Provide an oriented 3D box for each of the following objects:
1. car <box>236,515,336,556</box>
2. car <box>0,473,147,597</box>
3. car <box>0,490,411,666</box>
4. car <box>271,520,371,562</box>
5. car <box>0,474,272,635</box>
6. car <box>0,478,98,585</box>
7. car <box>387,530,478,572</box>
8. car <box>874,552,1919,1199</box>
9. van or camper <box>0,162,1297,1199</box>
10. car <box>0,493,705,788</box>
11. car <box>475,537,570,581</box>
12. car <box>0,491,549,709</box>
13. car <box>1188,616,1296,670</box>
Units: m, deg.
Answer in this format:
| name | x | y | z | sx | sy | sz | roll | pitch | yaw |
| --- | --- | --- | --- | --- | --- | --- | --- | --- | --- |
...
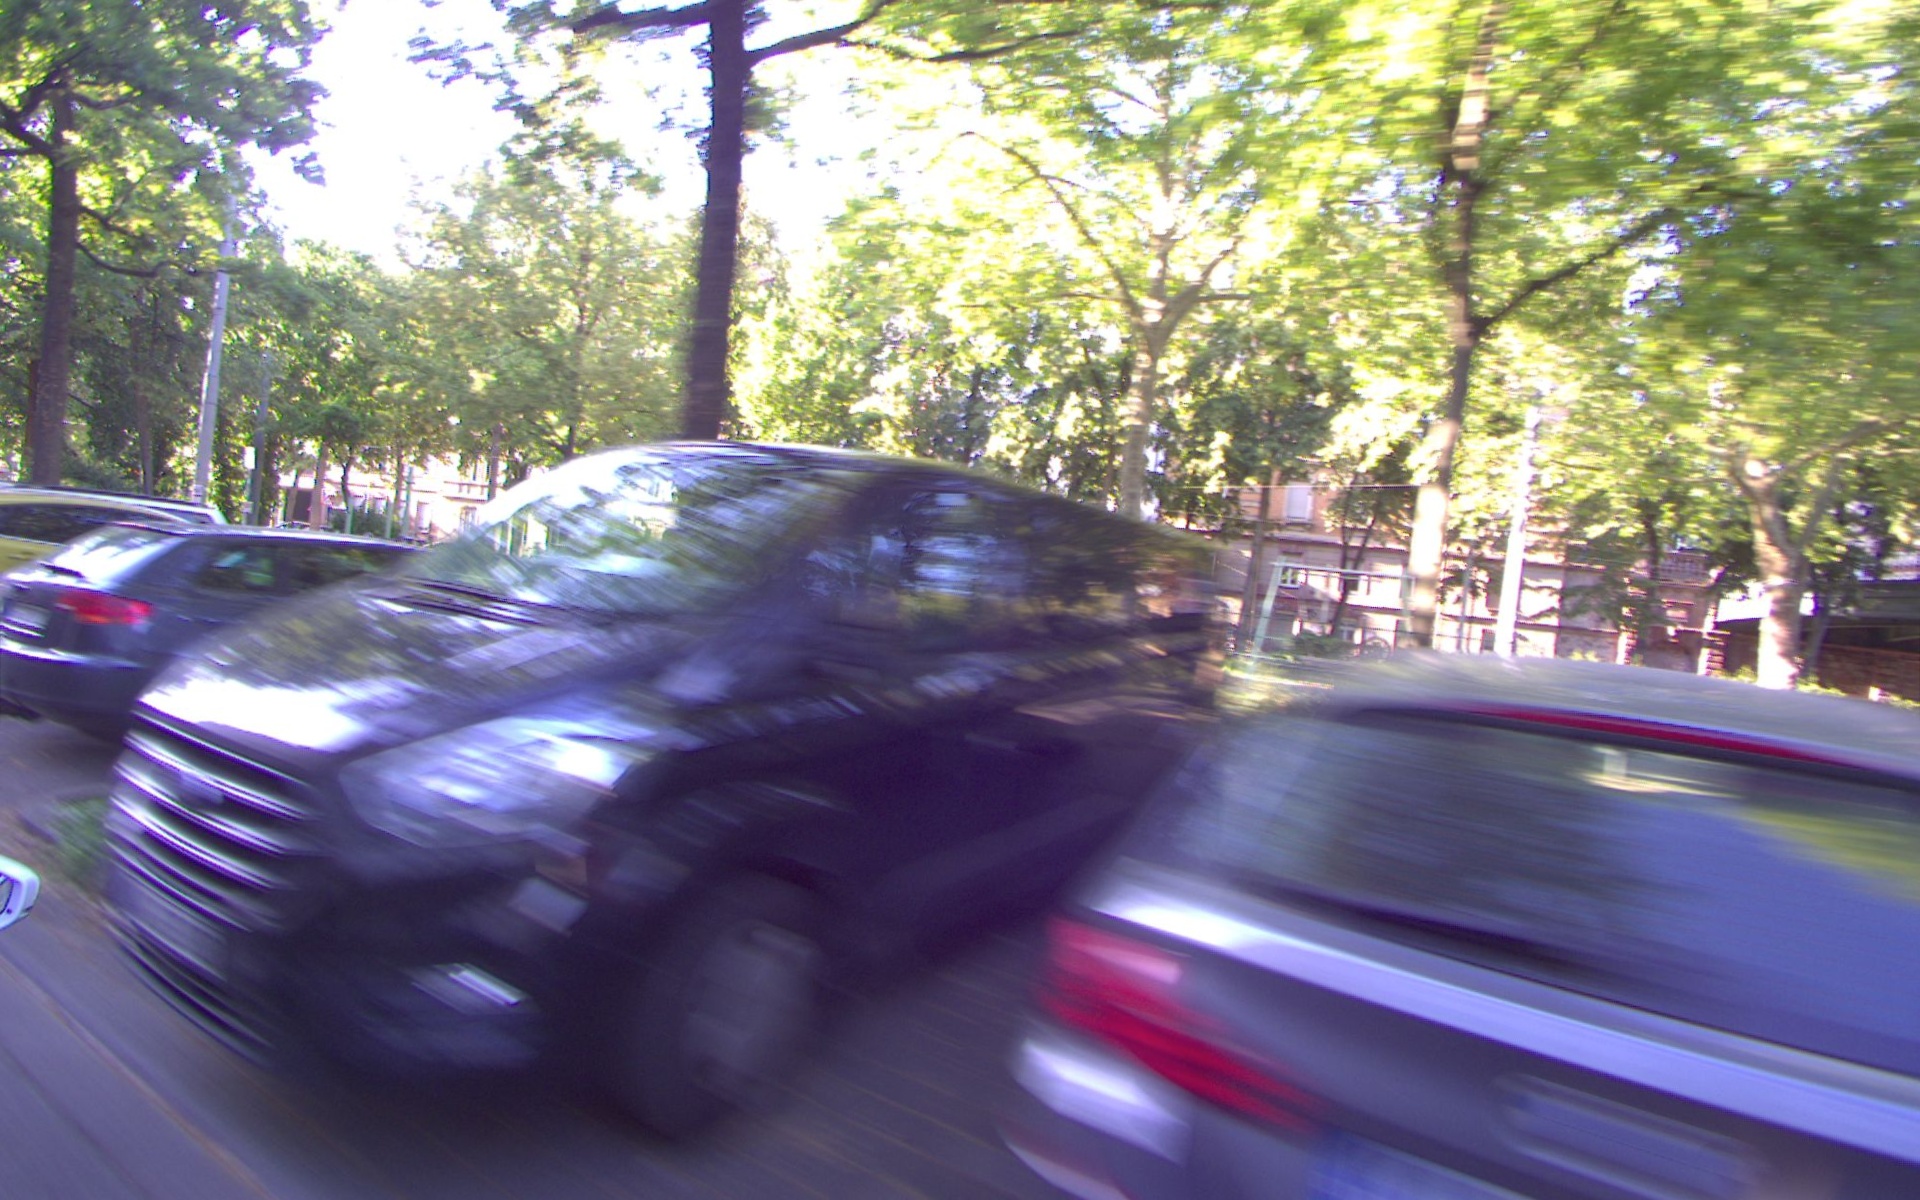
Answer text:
| name | x | y | z | sx | sy | sz | roll | pitch | yaw |
| --- | --- | --- | --- | --- | --- | --- | --- | --- | --- |
| car | -39.275 | -3.723 | 58.731 | 4.671 | 1.703 | 1.983 | 7 | -2 | -35 |
| car | -14.354 | -1.052 | 13.940 | 1.808 | 1.611 | 4.401 | 6 | 0 | 33 |
| car | -8.168 | -0.192 | 9.949 | 1.809 | 1.458 | 4.400 | 6 | 0 | 34 |
| car | -36.649 | -3.348 | 57.754 | 4.671 | 1.703 | 1.983 | 7 | -2 | -35 |
| car | -10.572 | -0.559 | 11.180 | 1.807 | 1.611 | 4.403 | 6 | 0 | 31 |
| car | -16.419 | -1.247 | 15.449 | 1.806 | 1.611 | 4.407 | 6 | 0 | 27 |
| car | -28.578 | -2.646 | 54.514 | 3.968 | 1.703 | 1.980 | 8 | -3 | -39 |
| car | 1.737 | 0.868 | 2.979 | 1.807 | 1.519 | 4.405 | 5 | -1 | 29 |
| van or camper | -0.403 | 0.391 | 4.433 | 1.997 | 2.053 | 5.414 | 7 | 1 | 34 |
| car | -4.184 | 0.263 | 7.387 | 1.807 | 1.458 | 4.403 | 6 | 0 | 31 |
| car | -22.634 | -2.126 | 52.190 | 1.967 | 1.703 | 3.993 | 5 | -3 | 32 |
| car | -6.124 | 0.041 | 8.716 | 1.809 | 1.458 | 4.400 | 6 | 0 | 34 |
| car | 13.332 | 2.061 | 47.891 | 4.648 | 2.037 | 2.002 | 5 | -2 | 12 |
